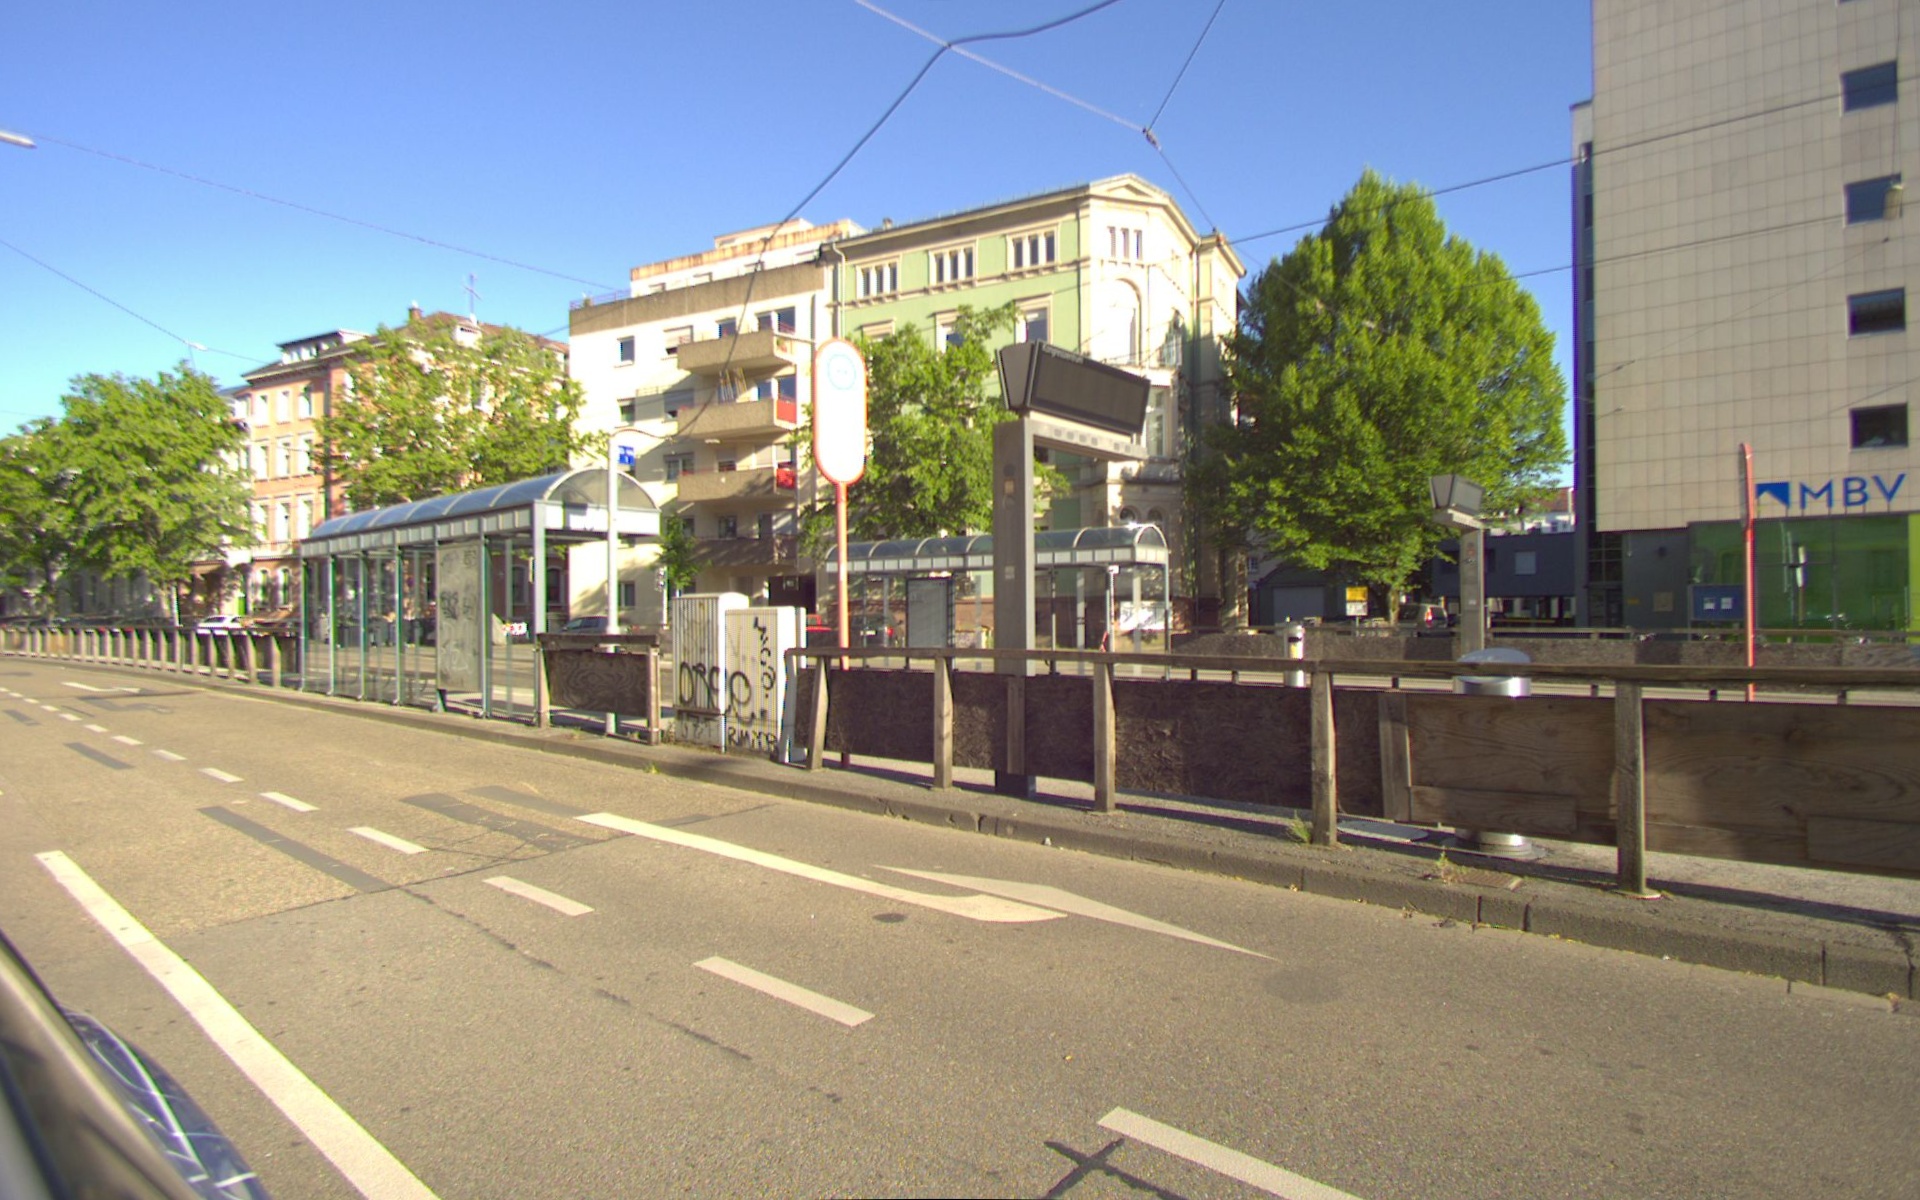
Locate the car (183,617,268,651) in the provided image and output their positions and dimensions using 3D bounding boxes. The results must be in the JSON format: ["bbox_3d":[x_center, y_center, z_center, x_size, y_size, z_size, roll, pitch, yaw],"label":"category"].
[{"bbox_3d":[-39.355,1.792,54.381,1.825,1.721,4.130,0,-1,-5],"label":"car"}]

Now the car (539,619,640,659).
[{"bbox_3d":[-14.140,1.462,38.601,3.725,1.438,1.637,-1,-1,29],"label":"car"}]

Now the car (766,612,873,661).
[{"bbox_3d":[-4.725,1.214,34.582,1.754,1.594,3.965,-1,-1,26],"label":"car"}]

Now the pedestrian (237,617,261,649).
[{"bbox_3d":[-37.043,1.695,52.703,0.892,1.641,0.856,-2,-2,44],"label":"pedestrian"}]

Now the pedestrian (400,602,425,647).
[{"bbox_3d":[-27.151,1.211,50.190,0.753,2.224,0.804,-1,-2,30],"label":"pedestrian"}]

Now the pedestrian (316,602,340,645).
[{"bbox_3d":[-33.017,1.217,52.900,0.753,2.224,0.804,-1,-2,30],"label":"pedestrian"}]

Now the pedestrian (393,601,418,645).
[{"bbox_3d":[-27.825,1.149,50.800,0.753,2.224,0.804,-1,-2,30],"label":"pedestrian"}]

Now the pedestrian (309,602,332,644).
[{"bbox_3d":[-34.085,1.231,53.955,0.755,2.224,0.803,-1,-2,36],"label":"pedestrian"}]

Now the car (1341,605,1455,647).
[{"bbox_3d":[15.738,0.895,36.464,1.544,1.423,3.430,-1,0,-38],"label":"car"}]

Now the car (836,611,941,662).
[{"bbox_3d":[-2.291,1.183,33.534,1.754,1.594,3.965,-1,-1,26],"label":"car"}]

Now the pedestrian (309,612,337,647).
[{"bbox_3d":[-31.872,1.490,50.626,1.016,1.733,0.846,-1,-2,32],"label":"pedestrian"}]

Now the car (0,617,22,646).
[{"bbox_3d":[-52.296,1.703,54.338,3.982,1.500,1.632,-1,0,28],"label":"car"}]

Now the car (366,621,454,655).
[{"bbox_3d":[-23.737,1.619,43.656,3.986,1.407,1.592,-1,-2,32],"label":"car"}]
